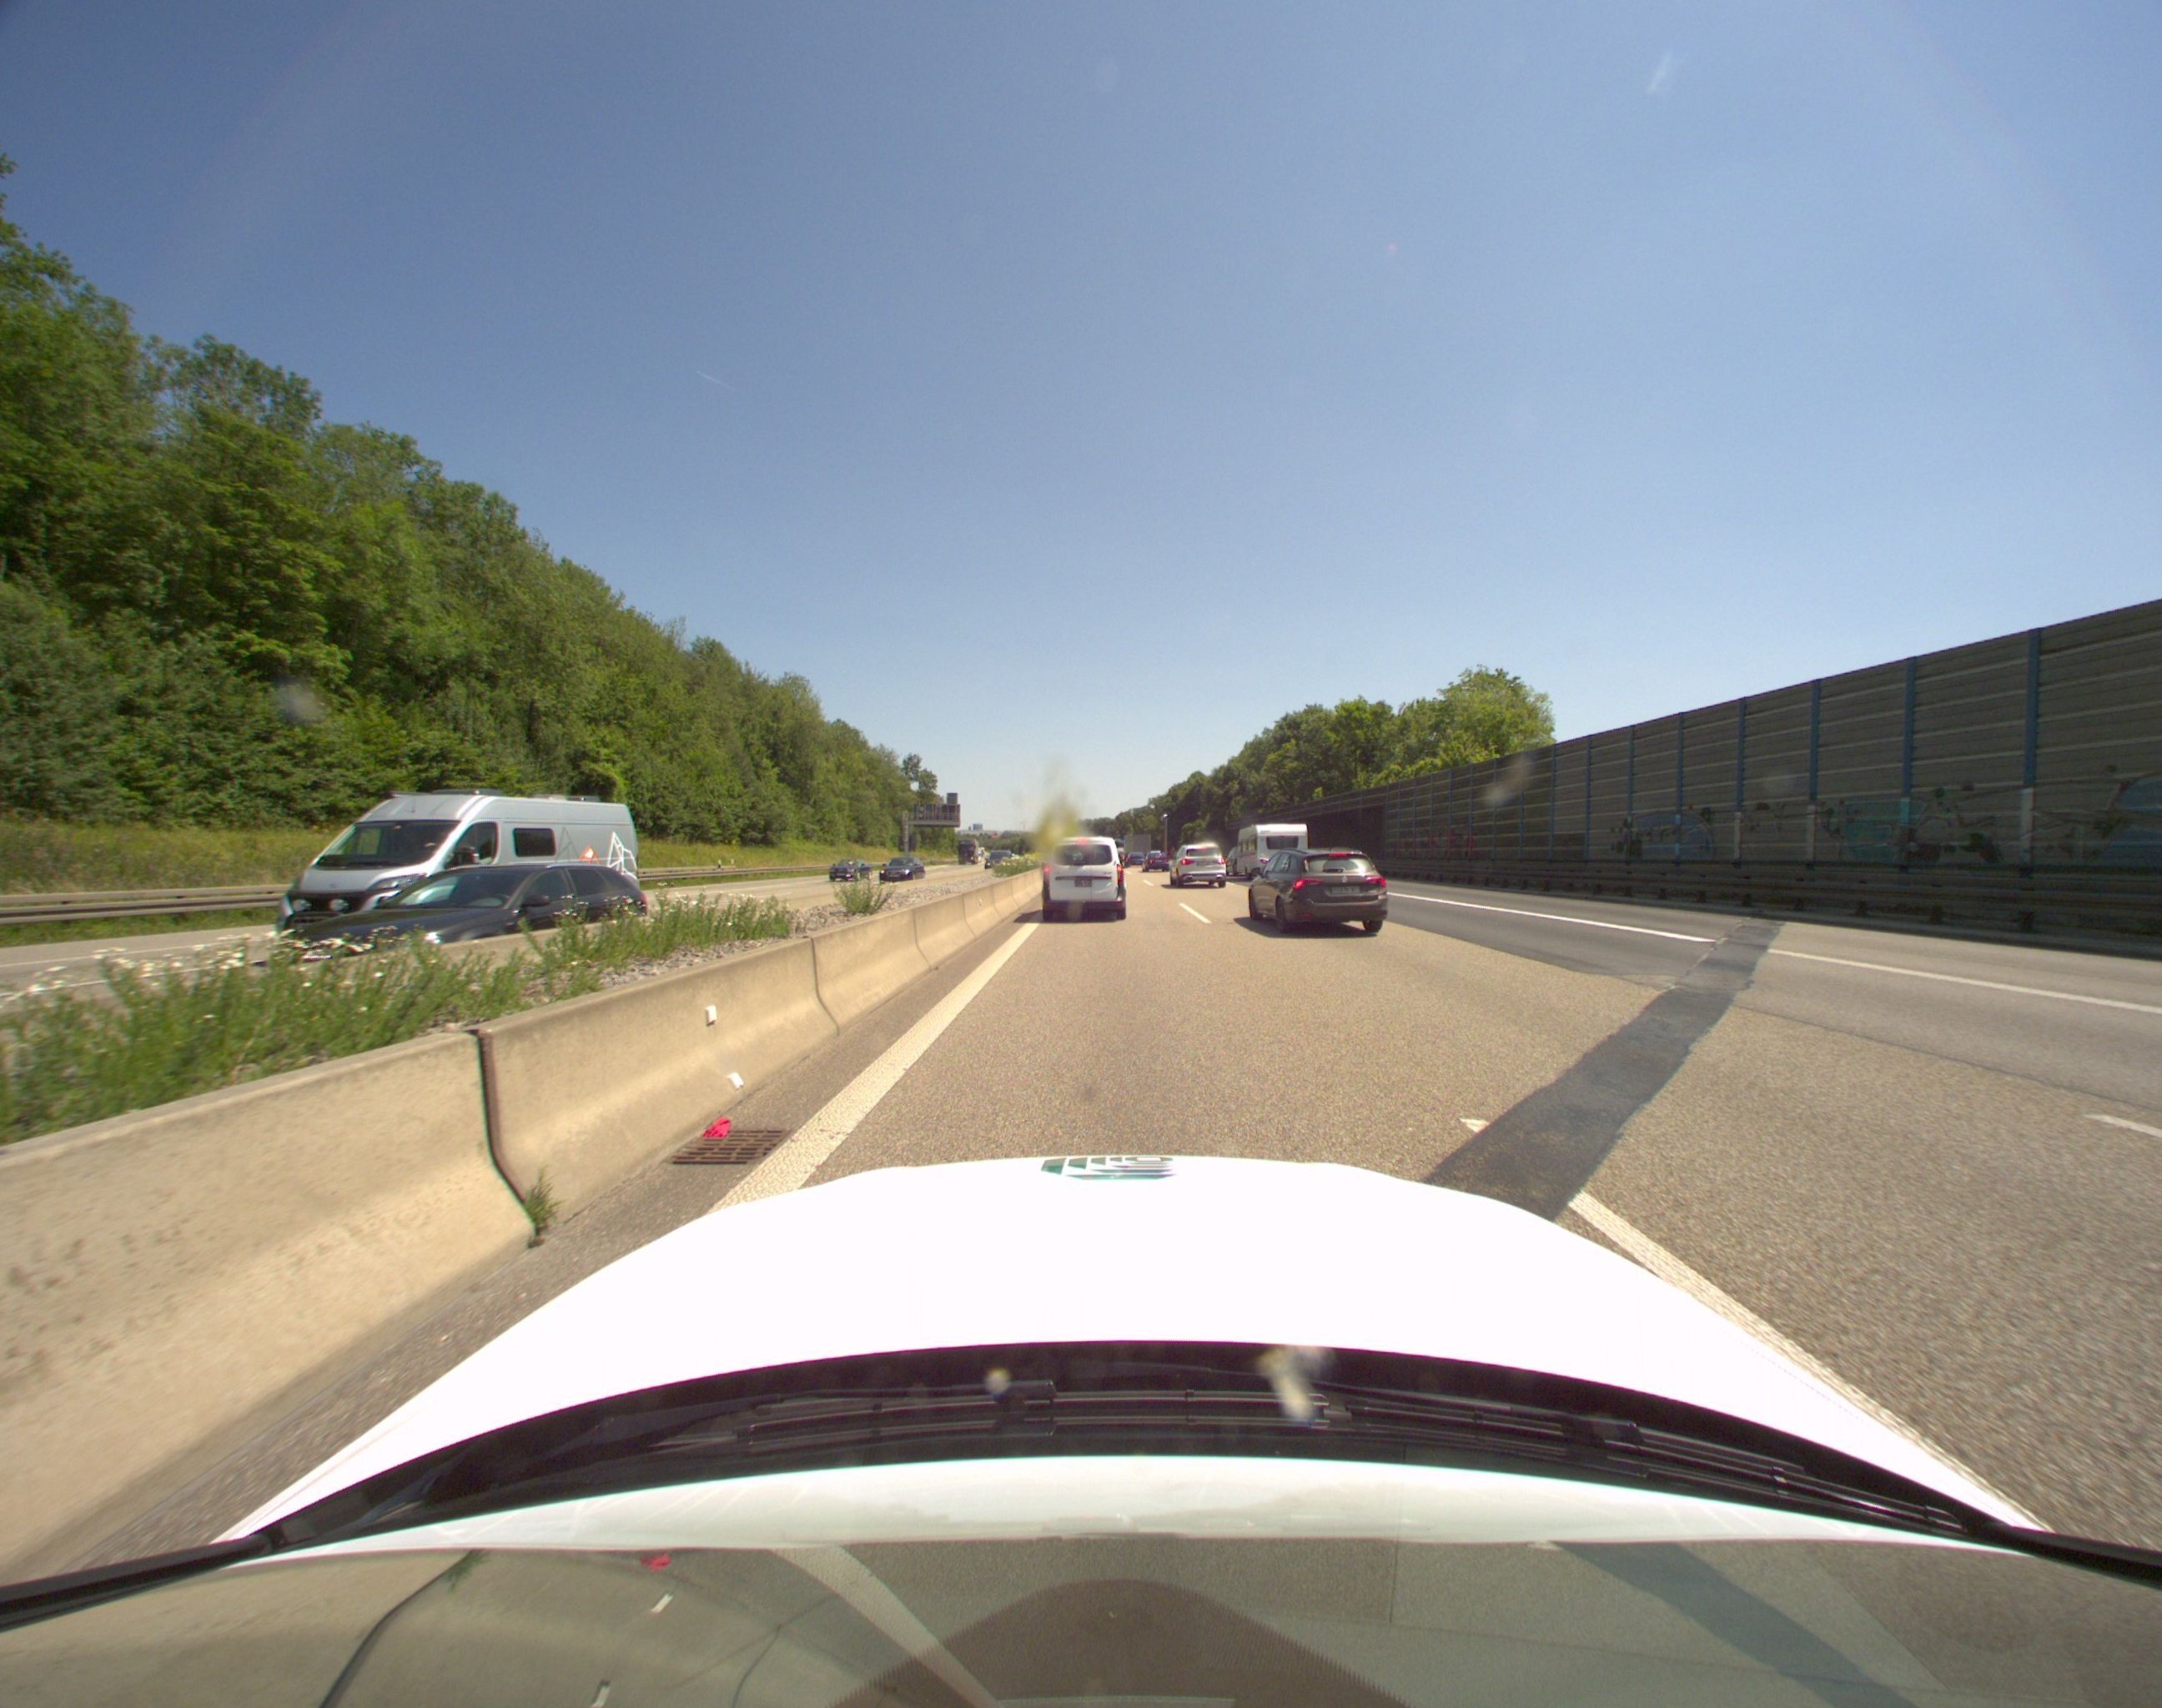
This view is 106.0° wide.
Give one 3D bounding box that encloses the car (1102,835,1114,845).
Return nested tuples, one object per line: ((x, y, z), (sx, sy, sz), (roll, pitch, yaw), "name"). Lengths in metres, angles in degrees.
((5.443, -2.828, 167.169), (1.990, 2.013, 3.994), (-1, 0, -4), "car")

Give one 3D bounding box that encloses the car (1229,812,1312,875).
((9.030, -0.472, 39.414), (2.471, 2.765, 6.217), (-1, 0, -1), "car")

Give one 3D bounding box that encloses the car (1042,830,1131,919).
((0.232, 0.423, 18.873), (1.794, 1.808, 4.004), (-1, 0, 4), "car")

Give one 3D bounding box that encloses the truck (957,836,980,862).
((-17.644, -0.776, 127.806), (2.821, 3.939, 6.003), (-1, 0, -2), "truck")

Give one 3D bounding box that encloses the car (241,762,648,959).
((-10.457, 0.078, 14.343), (2.207, 2.701, 6.065), (-1, 0, 2), "car")

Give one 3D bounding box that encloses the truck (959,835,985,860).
((-17.805, -1.049, 133.922), (2.821, 3.938, 13.736), (-1, 0, -1), "truck")

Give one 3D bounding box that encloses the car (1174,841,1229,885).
((4.746, 0.319, 32.623), (1.863, 1.608, 3.883), (-1, 1, 4), "car")

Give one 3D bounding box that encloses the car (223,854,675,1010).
((-6.995, 0.732, 9.798), (1.868, 1.410, 4.414), (-1, 0, 2), "car")

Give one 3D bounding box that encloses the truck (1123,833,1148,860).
((8.378, -1.125, 126.718), (3.073, 3.985, 9.643), (-1, 0, -1), "truck")

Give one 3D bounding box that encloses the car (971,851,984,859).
((-22.264, 0.223, 175.090), (1.987, 1.692, 4.767), (-1, 0, 0), "car")

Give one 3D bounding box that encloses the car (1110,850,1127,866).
((4.663, 0.487, 101.422), (1.818, 1.989, 3.999), (-1, 0, -1), "car")

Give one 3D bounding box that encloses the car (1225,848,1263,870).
((11.262, 0.306, 56.493), (1.818, 1.424, 4.000), (-1, 0, 0), "car")

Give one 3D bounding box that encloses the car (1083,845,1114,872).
((1.210, 0.305, 57.389), (1.988, 1.860, 3.999), (-1, 0, -1), "car")

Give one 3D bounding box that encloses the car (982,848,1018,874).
((-5.703, 0.484, 58.108), (1.986, 1.724, 4.358), (-1, 1, 2), "car")

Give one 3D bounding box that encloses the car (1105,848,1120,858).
((4.537, -0.123, 117.501), (1.818, 1.447, 3.999), (-1, 0, -1), "car")

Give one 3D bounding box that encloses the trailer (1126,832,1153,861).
((8.463, -1.095, 119.026), (3.073, 3.985, 10.319), (-1, 0, -1), "trailer")

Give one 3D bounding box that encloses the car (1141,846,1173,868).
((5.236, 0.225, 56.414), (1.818, 1.424, 3.999), (-1, 0, -1), "car")

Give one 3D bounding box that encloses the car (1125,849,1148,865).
((5.188, 0.246, 76.507), (1.818, 1.424, 3.999), (-1, 0, -1), "car")

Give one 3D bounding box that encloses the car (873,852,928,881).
((-9.402, 0.619, 42.713), (1.806, 1.402, 4.273), (-1, 1, 2), "car")

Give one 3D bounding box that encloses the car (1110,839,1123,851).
((6.544, -1.648, 150.317), (1.987, 2.013, 3.999), (-1, 0, -1), "car")

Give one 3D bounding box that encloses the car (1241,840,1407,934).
((4.382, 0.510, 15.425), (1.832, 1.513, 4.402), (-1, 1, 0), "car")

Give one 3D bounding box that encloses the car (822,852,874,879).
((-13.844, 0.667, 48.655), (1.833, 1.453, 4.002), (-1, 1, 2), "car")
